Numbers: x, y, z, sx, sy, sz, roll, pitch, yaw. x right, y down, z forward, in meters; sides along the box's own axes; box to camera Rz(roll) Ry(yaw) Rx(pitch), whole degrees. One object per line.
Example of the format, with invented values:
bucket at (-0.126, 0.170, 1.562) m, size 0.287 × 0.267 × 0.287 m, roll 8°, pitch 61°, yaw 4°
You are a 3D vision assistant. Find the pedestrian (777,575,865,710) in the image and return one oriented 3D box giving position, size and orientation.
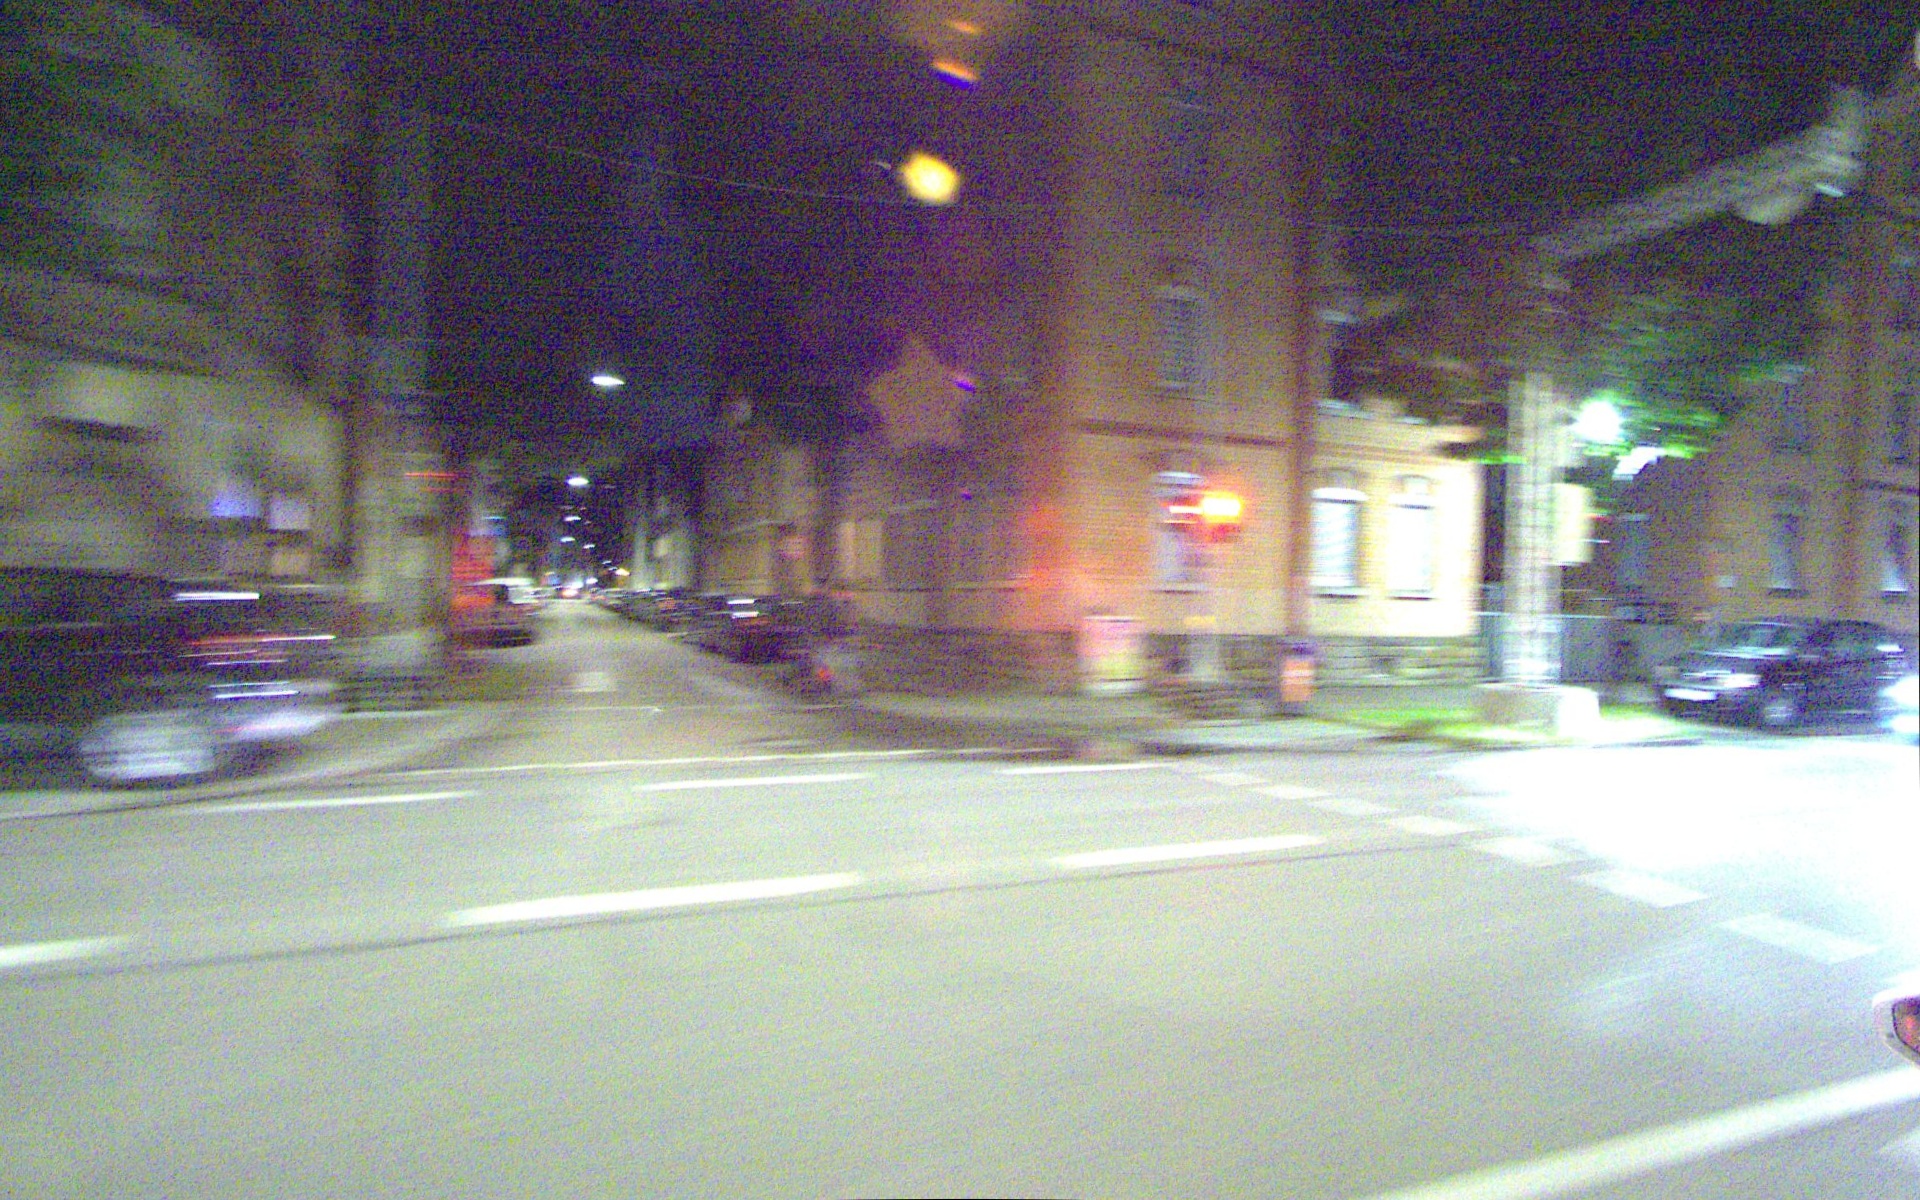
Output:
pedestrian at (-1.844, 0.555, 13.279) m, size 1.104 × 1.713 × 0.710 m, roll 1°, pitch 0°, yaw -11°

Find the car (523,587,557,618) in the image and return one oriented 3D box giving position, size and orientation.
car at (-26.314, 0.157, 62.962) m, size 1.873 × 1.799 × 3.979 m, roll 1°, pitch 0°, yaw -22°

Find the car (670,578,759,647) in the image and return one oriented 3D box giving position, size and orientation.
car at (-7.024, 0.351, 28.490) m, size 1.873 × 1.799 × 3.979 m, roll 1°, pitch 0°, yaw -22°

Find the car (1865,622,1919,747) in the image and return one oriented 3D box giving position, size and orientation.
car at (13.135, 1.006, 12.101) m, size 3.940 × 1.448 × 1.713 m, roll 1°, pitch -2°, yaw -21°

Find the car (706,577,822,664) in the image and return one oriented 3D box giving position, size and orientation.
car at (-4.561, 0.449, 22.910) m, size 1.873 × 1.799 × 3.979 m, roll 1°, pitch 0°, yaw -22°

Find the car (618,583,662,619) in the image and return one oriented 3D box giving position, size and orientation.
car at (-16.680, 0.049, 52.282) m, size 1.873 × 1.799 × 3.979 m, roll 1°, pitch 0°, yaw -22°

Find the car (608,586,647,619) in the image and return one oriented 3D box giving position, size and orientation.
car at (-19.431, 0.145, 58.578) m, size 1.873 × 1.799 × 3.979 m, roll 1°, pitch 0°, yaw -22°

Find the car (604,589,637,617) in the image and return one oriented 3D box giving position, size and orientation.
car at (-22.472, 0.203, 66.397) m, size 1.873 × 1.799 × 3.979 m, roll 1°, pitch 0°, yaw -22°

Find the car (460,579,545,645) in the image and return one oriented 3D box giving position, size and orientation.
car at (-12.291, 0.320, 27.184) m, size 1.873 × 1.620 × 3.979 m, roll 1°, pitch 0°, yaw -22°

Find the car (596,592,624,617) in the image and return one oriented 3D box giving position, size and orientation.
car at (-27.248, 0.347, 78.191) m, size 1.873 × 1.799 × 3.979 m, roll 1°, pitch 0°, yaw -22°

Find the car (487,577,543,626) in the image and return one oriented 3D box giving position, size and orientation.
car at (-17.730, 0.062, 40.145) m, size 1.873 × 1.799 × 3.979 m, roll 1°, pitch 0°, yaw -22°

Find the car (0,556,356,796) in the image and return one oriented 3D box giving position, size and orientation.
car at (-7.053, 0.487, 7.557) m, size 3.962 × 1.618 × 1.883 m, roll 1°, pitch 1°, yaw -20°

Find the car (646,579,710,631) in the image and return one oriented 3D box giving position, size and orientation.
car at (-10.601, 0.196, 37.550) m, size 1.873 × 1.799 × 3.979 m, roll 1°, pitch 0°, yaw -22°

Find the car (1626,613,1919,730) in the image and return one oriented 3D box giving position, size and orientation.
car at (12.047, 0.993, 14.934) m, size 3.639 × 1.511 × 1.591 m, roll 0°, pitch 3°, yaw -17°

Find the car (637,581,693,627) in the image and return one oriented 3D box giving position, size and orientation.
car at (-12.497, 0.166, 42.344) m, size 1.873 × 1.799 × 3.979 m, roll 1°, pitch 0°, yaw -22°

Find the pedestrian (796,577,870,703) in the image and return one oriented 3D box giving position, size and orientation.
pedestrian at (-1.791, 0.559, 14.094) m, size 0.980 × 1.713 × 0.710 m, roll 1°, pitch 0°, yaw -11°

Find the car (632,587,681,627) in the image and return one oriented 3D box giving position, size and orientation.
car at (-14.450, 0.313, 47.760) m, size 1.873 × 1.799 × 3.979 m, roll 1°, pitch 0°, yaw -22°

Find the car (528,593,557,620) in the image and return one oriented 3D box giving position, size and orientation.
car at (-29.860, 0.455, 71.922) m, size 1.873 × 1.799 × 3.979 m, roll 1°, pitch 0°, yaw -22°
